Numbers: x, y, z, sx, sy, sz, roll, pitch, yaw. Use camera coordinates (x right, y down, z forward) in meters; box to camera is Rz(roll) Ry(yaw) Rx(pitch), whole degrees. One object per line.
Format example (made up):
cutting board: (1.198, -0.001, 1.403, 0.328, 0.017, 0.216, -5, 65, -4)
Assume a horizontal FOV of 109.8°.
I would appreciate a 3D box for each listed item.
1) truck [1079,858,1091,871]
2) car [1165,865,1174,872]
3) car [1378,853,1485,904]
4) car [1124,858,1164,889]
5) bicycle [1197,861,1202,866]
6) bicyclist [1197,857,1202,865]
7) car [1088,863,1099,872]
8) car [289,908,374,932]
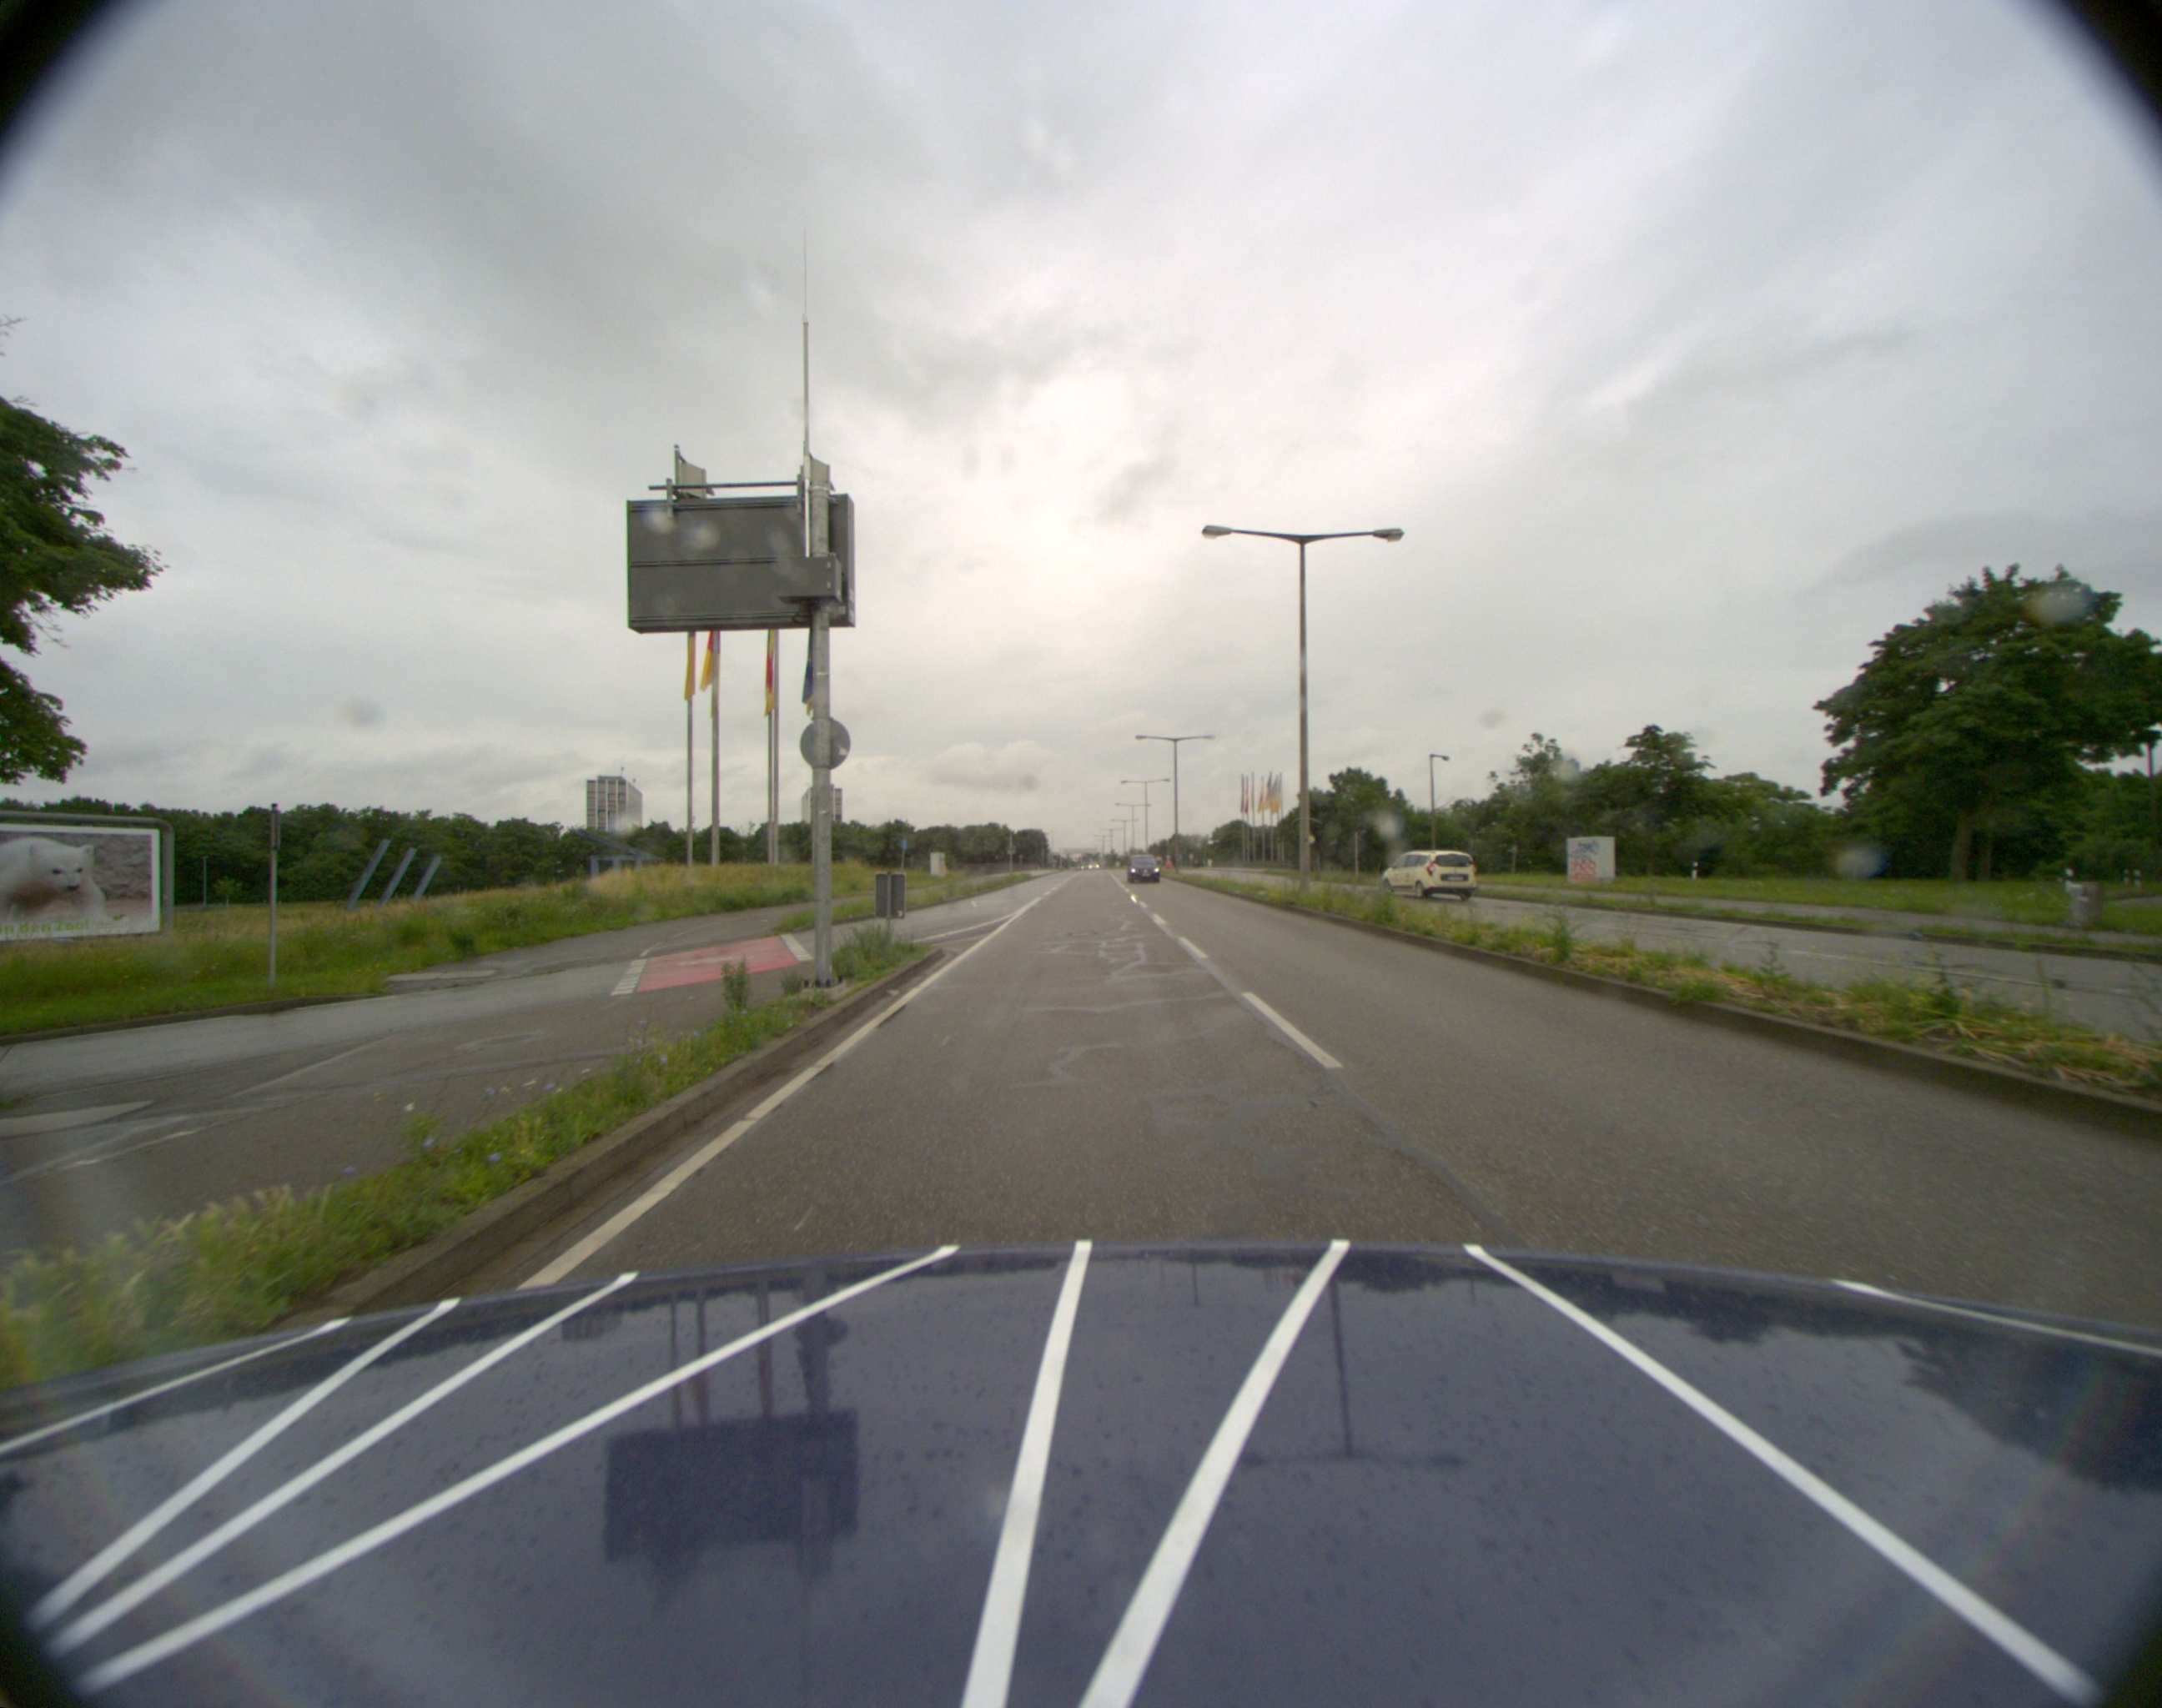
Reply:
truck: (1.114, 2.660, 197.460, 2.860, 3.196, 8.097, -2, 0, -1)
car: (18.997, 3.105, 163.575, 1.664, 1.440, 3.557, 1, 0, 1)
car: (12.317, 0.823, 27.051, 1.711, 1.620, 4.492, 1, 0, 0)
car: (3.907, 1.166, 47.782, 1.851, 1.740, 4.815, -1, 0, -3)
bicycle: (23.189, 1.888, 148.633, 0.611, 1.027, 2.001, -3, 0, 1)
bicyclist: (23.162, 1.431, 148.628, 0.621, 1.491, 1.003, -3, 0, 1)
car: (2.404, 2.576, 143.949, 1.999, 1.700, 4.000, -2, 0, -1)
car: (-64.503, 5.686, 65.484, 4.749, 1.688, 1.997, -1, 0, -20)
